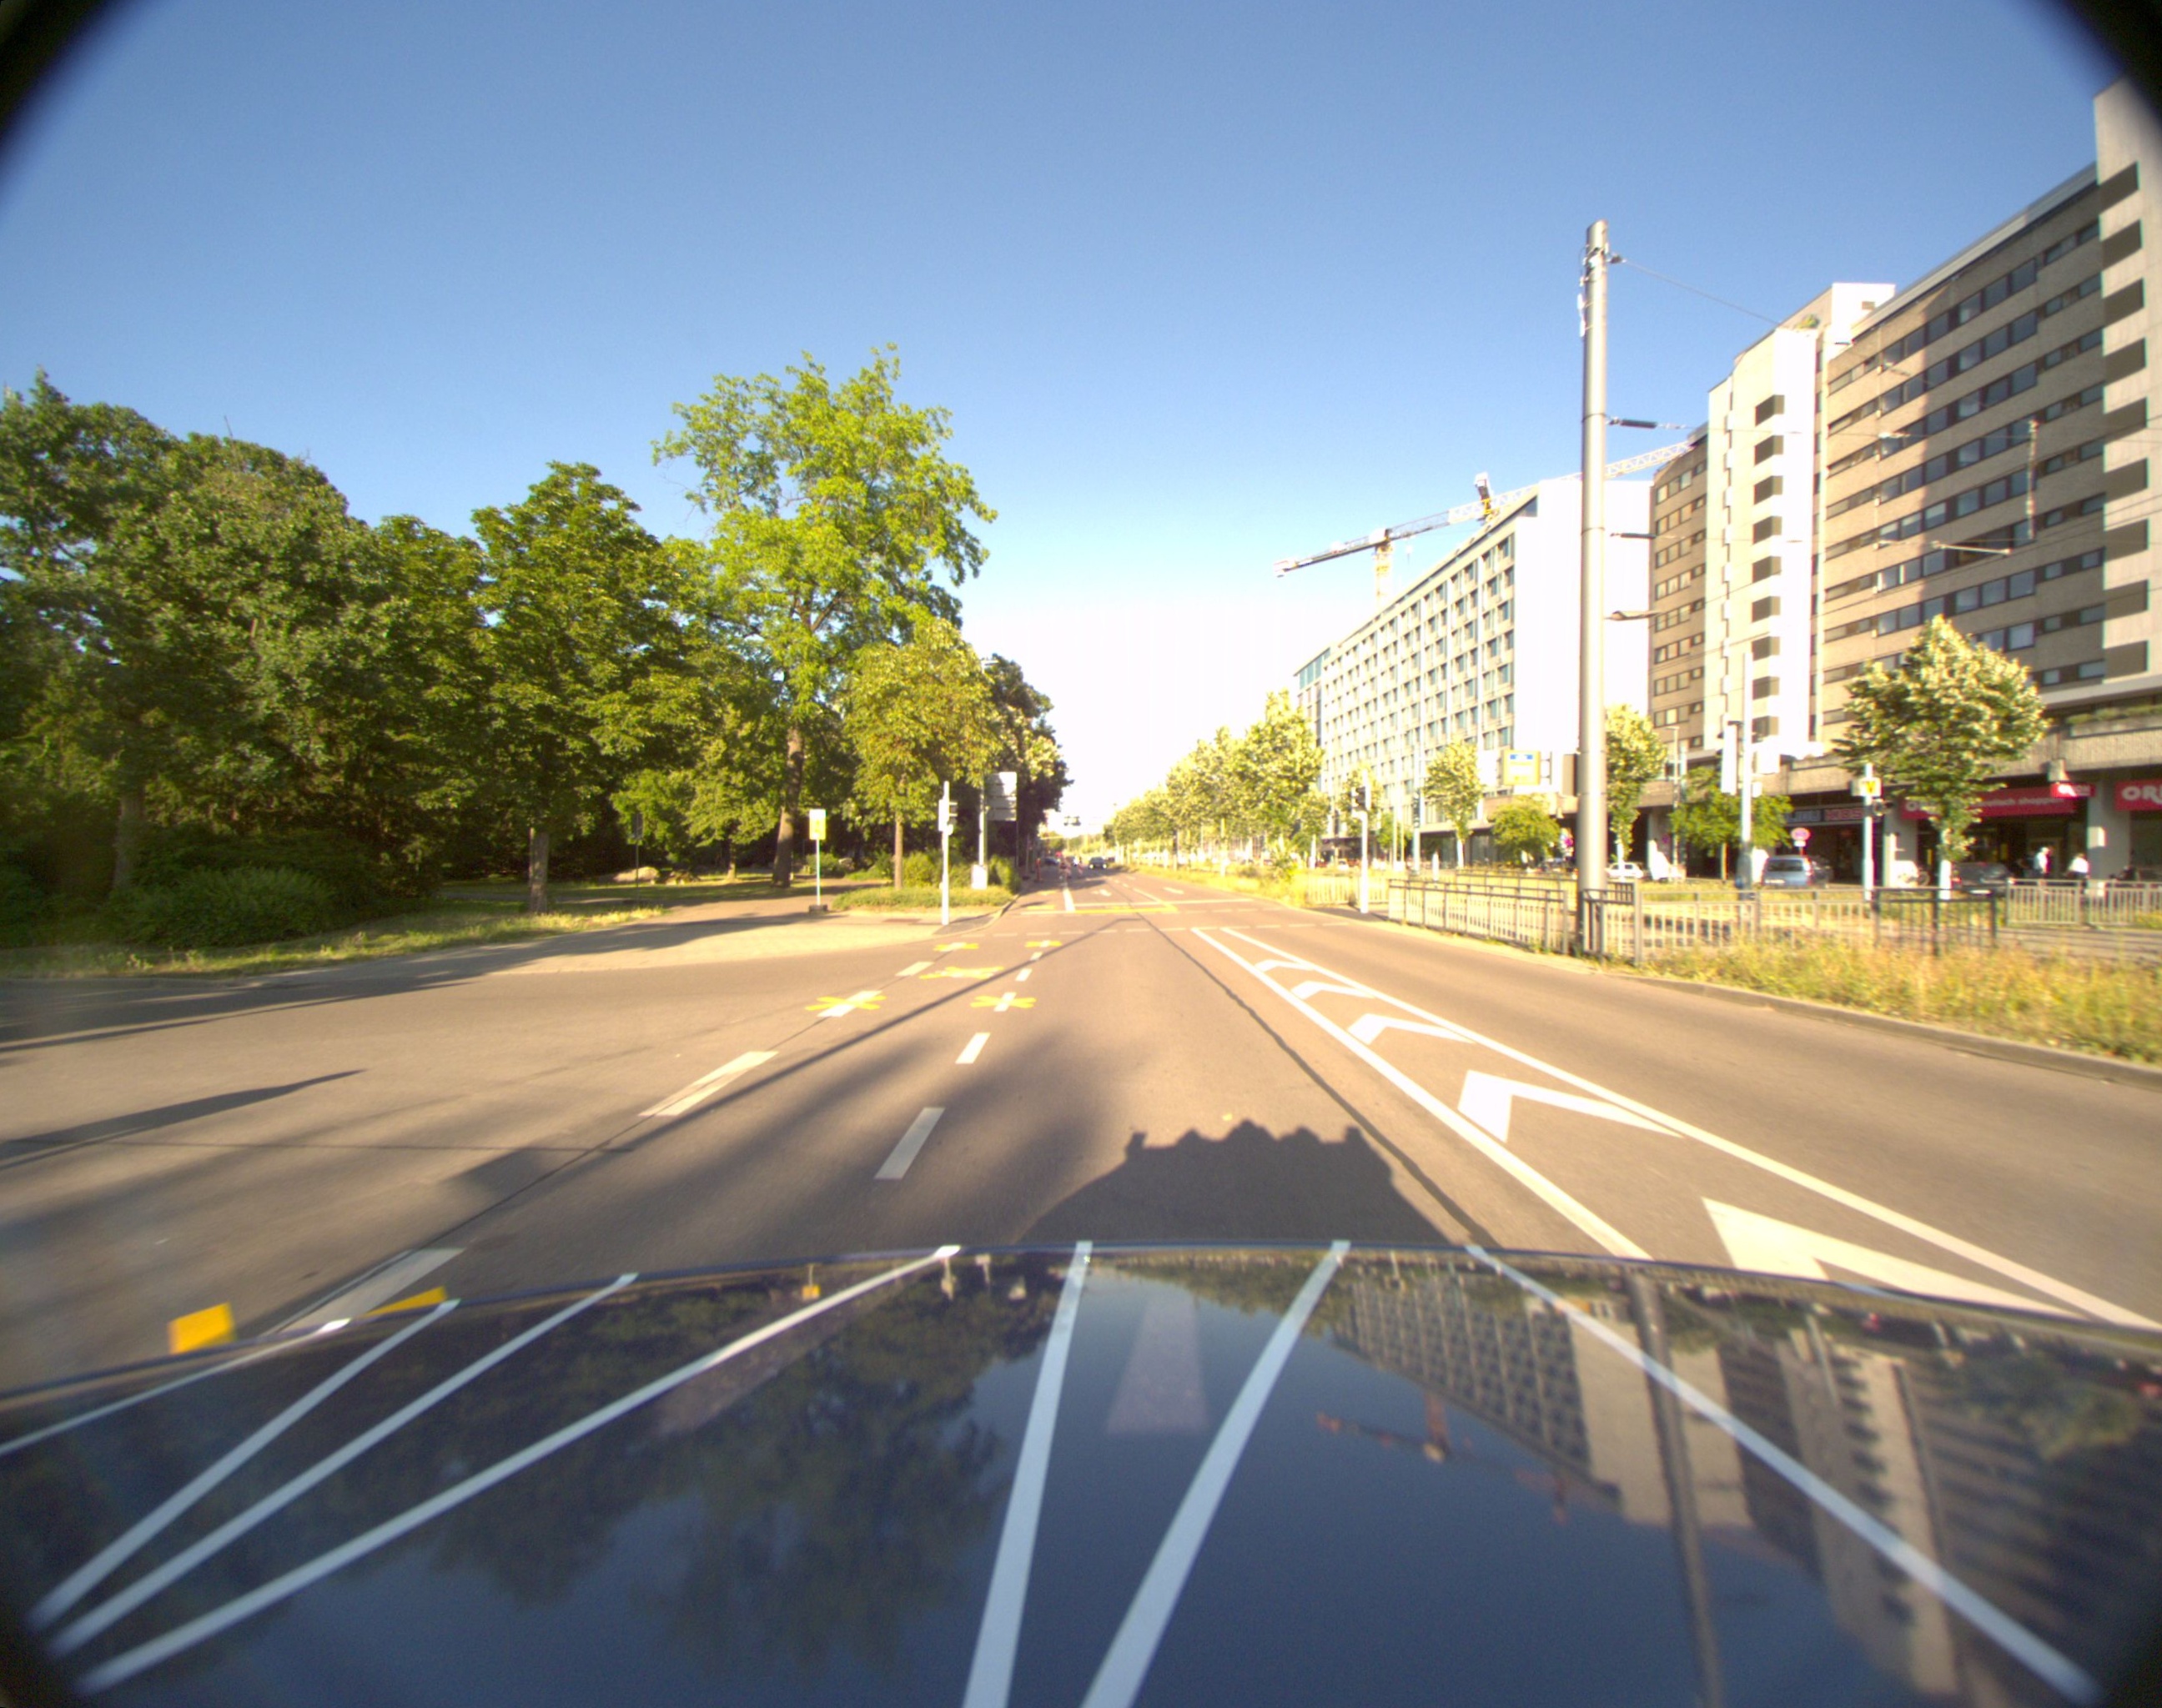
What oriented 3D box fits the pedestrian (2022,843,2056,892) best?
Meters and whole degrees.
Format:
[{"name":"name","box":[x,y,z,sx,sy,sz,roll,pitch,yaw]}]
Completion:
[{"name":"pedestrian","box":[39.388,0.546,31.242,0.549,2.002,0.654,0,1,-2]}]

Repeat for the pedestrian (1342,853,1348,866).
[{"name":"pedestrian","box":[33.620,0.692,96.767,0.479,1.626,0.597,0,1,-1]}]

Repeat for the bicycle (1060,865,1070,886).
[{"name":"bicycle","box":[-0.851,1.126,40.195,0.506,1.018,1.505,0,0,-1]}]

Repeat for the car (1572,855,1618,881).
[{"name":"car","box":[32.533,0.851,48.073,1.785,1.436,3.809,-1,1,43]}]

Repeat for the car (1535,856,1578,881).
[{"name":"car","box":[32.455,0.956,51.819,1.616,1.436,4.556,-1,1,43]}]

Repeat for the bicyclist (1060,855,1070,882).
[{"name":"bicyclist","box":[-0.846,0.778,40.151,0.516,1.399,0.805,0,1,-2]}]

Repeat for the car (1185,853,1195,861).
[{"name":"car","box":[26.688,0.724,185.712,1.874,1.742,3.792,-2,1,-1]}]

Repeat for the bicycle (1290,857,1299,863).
[{"name":"bicycle","box":[28.105,0.793,100.157,0.437,0.857,2.102,0,0,-3]}]

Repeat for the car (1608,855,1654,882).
[{"name":"car","box":[32.803,0.851,45.277,3.800,1.436,1.616,-3,1,-45]}]

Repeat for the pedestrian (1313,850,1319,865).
[{"name":"pedestrian","box":[32.875,0.484,106.410,0.622,2.002,0.726,0,1,-1]}]

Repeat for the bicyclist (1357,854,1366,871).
[{"name":"bicyclist","box":[28.739,0.886,77.856,0.559,1.735,0.919,0,1,-3]}]

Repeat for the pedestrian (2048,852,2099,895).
[{"name":"pedestrian","box":[38.215,0.736,29.259,0.776,1.630,0.882,0,1,-2]}]

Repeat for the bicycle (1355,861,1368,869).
[{"name":"bicycle","box":[28.787,1.116,78.089,0.437,0.857,2.102,0,0,-3]}]

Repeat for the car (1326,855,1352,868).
[{"name":"car","box":[30.798,0.902,90.782,1.874,1.457,3.388,-2,1,-1]}]

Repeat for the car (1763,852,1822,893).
[{"name":"car","box":[32.987,0.812,35.193,4.204,1.681,1.617,-3,1,-42]}]

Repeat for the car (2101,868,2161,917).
[{"name":"car","box":[32.754,1.131,23.073,1.616,1.266,3.473,-1,1,45]}]

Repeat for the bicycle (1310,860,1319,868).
[{"name":"bicycle","box":[28.708,1.221,93.452,0.437,0.857,2.102,0,0,-3]}]

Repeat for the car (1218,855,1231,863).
[{"name":"car","box":[26.741,0.866,141.874,1.613,1.370,3.878,-2,1,-1]}]

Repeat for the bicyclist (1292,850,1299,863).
[{"name":"bicyclist","box":[28.163,0.345,99.751,0.539,1.647,0.919,0,1,-1]}]

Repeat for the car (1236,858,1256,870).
[{"name":"car","box":[25.233,1.484,116.380,1.874,1.692,4.487,-2,1,-1]}]

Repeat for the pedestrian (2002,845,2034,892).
[{"name":"pedestrian","box":[40.315,0.617,32.684,0.549,2.002,0.654,0,1,-2]}]

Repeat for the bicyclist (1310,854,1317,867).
[{"name":"bicyclist","box":[28.621,0.797,93.366,0.539,1.647,0.919,0,1,-3]}]

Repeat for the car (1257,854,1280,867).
[{"name":"car","box":[25.438,0.846,103.092,1.874,1.579,4.637,-2,1,-1]}]

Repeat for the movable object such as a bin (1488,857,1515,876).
[{"name":"movable object such as a bin","box":[31.472,0.947,56.887,1.390,1.363,1.171,0,1,-3]}]

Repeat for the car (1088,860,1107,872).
[{"name":"car","box":[1.916,1.339,87.879,1.999,1.346,3.999,0,0,-1]}]

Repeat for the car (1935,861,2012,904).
[{"name":"car","box":[33.794,1.030,28.848,1.616,1.394,3.473,-1,1,45]}]

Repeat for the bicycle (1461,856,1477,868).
[{"name":"bicycle","box":[38.707,0.775,75.768,0.394,1.223,1.718,0,0,-11]}]
